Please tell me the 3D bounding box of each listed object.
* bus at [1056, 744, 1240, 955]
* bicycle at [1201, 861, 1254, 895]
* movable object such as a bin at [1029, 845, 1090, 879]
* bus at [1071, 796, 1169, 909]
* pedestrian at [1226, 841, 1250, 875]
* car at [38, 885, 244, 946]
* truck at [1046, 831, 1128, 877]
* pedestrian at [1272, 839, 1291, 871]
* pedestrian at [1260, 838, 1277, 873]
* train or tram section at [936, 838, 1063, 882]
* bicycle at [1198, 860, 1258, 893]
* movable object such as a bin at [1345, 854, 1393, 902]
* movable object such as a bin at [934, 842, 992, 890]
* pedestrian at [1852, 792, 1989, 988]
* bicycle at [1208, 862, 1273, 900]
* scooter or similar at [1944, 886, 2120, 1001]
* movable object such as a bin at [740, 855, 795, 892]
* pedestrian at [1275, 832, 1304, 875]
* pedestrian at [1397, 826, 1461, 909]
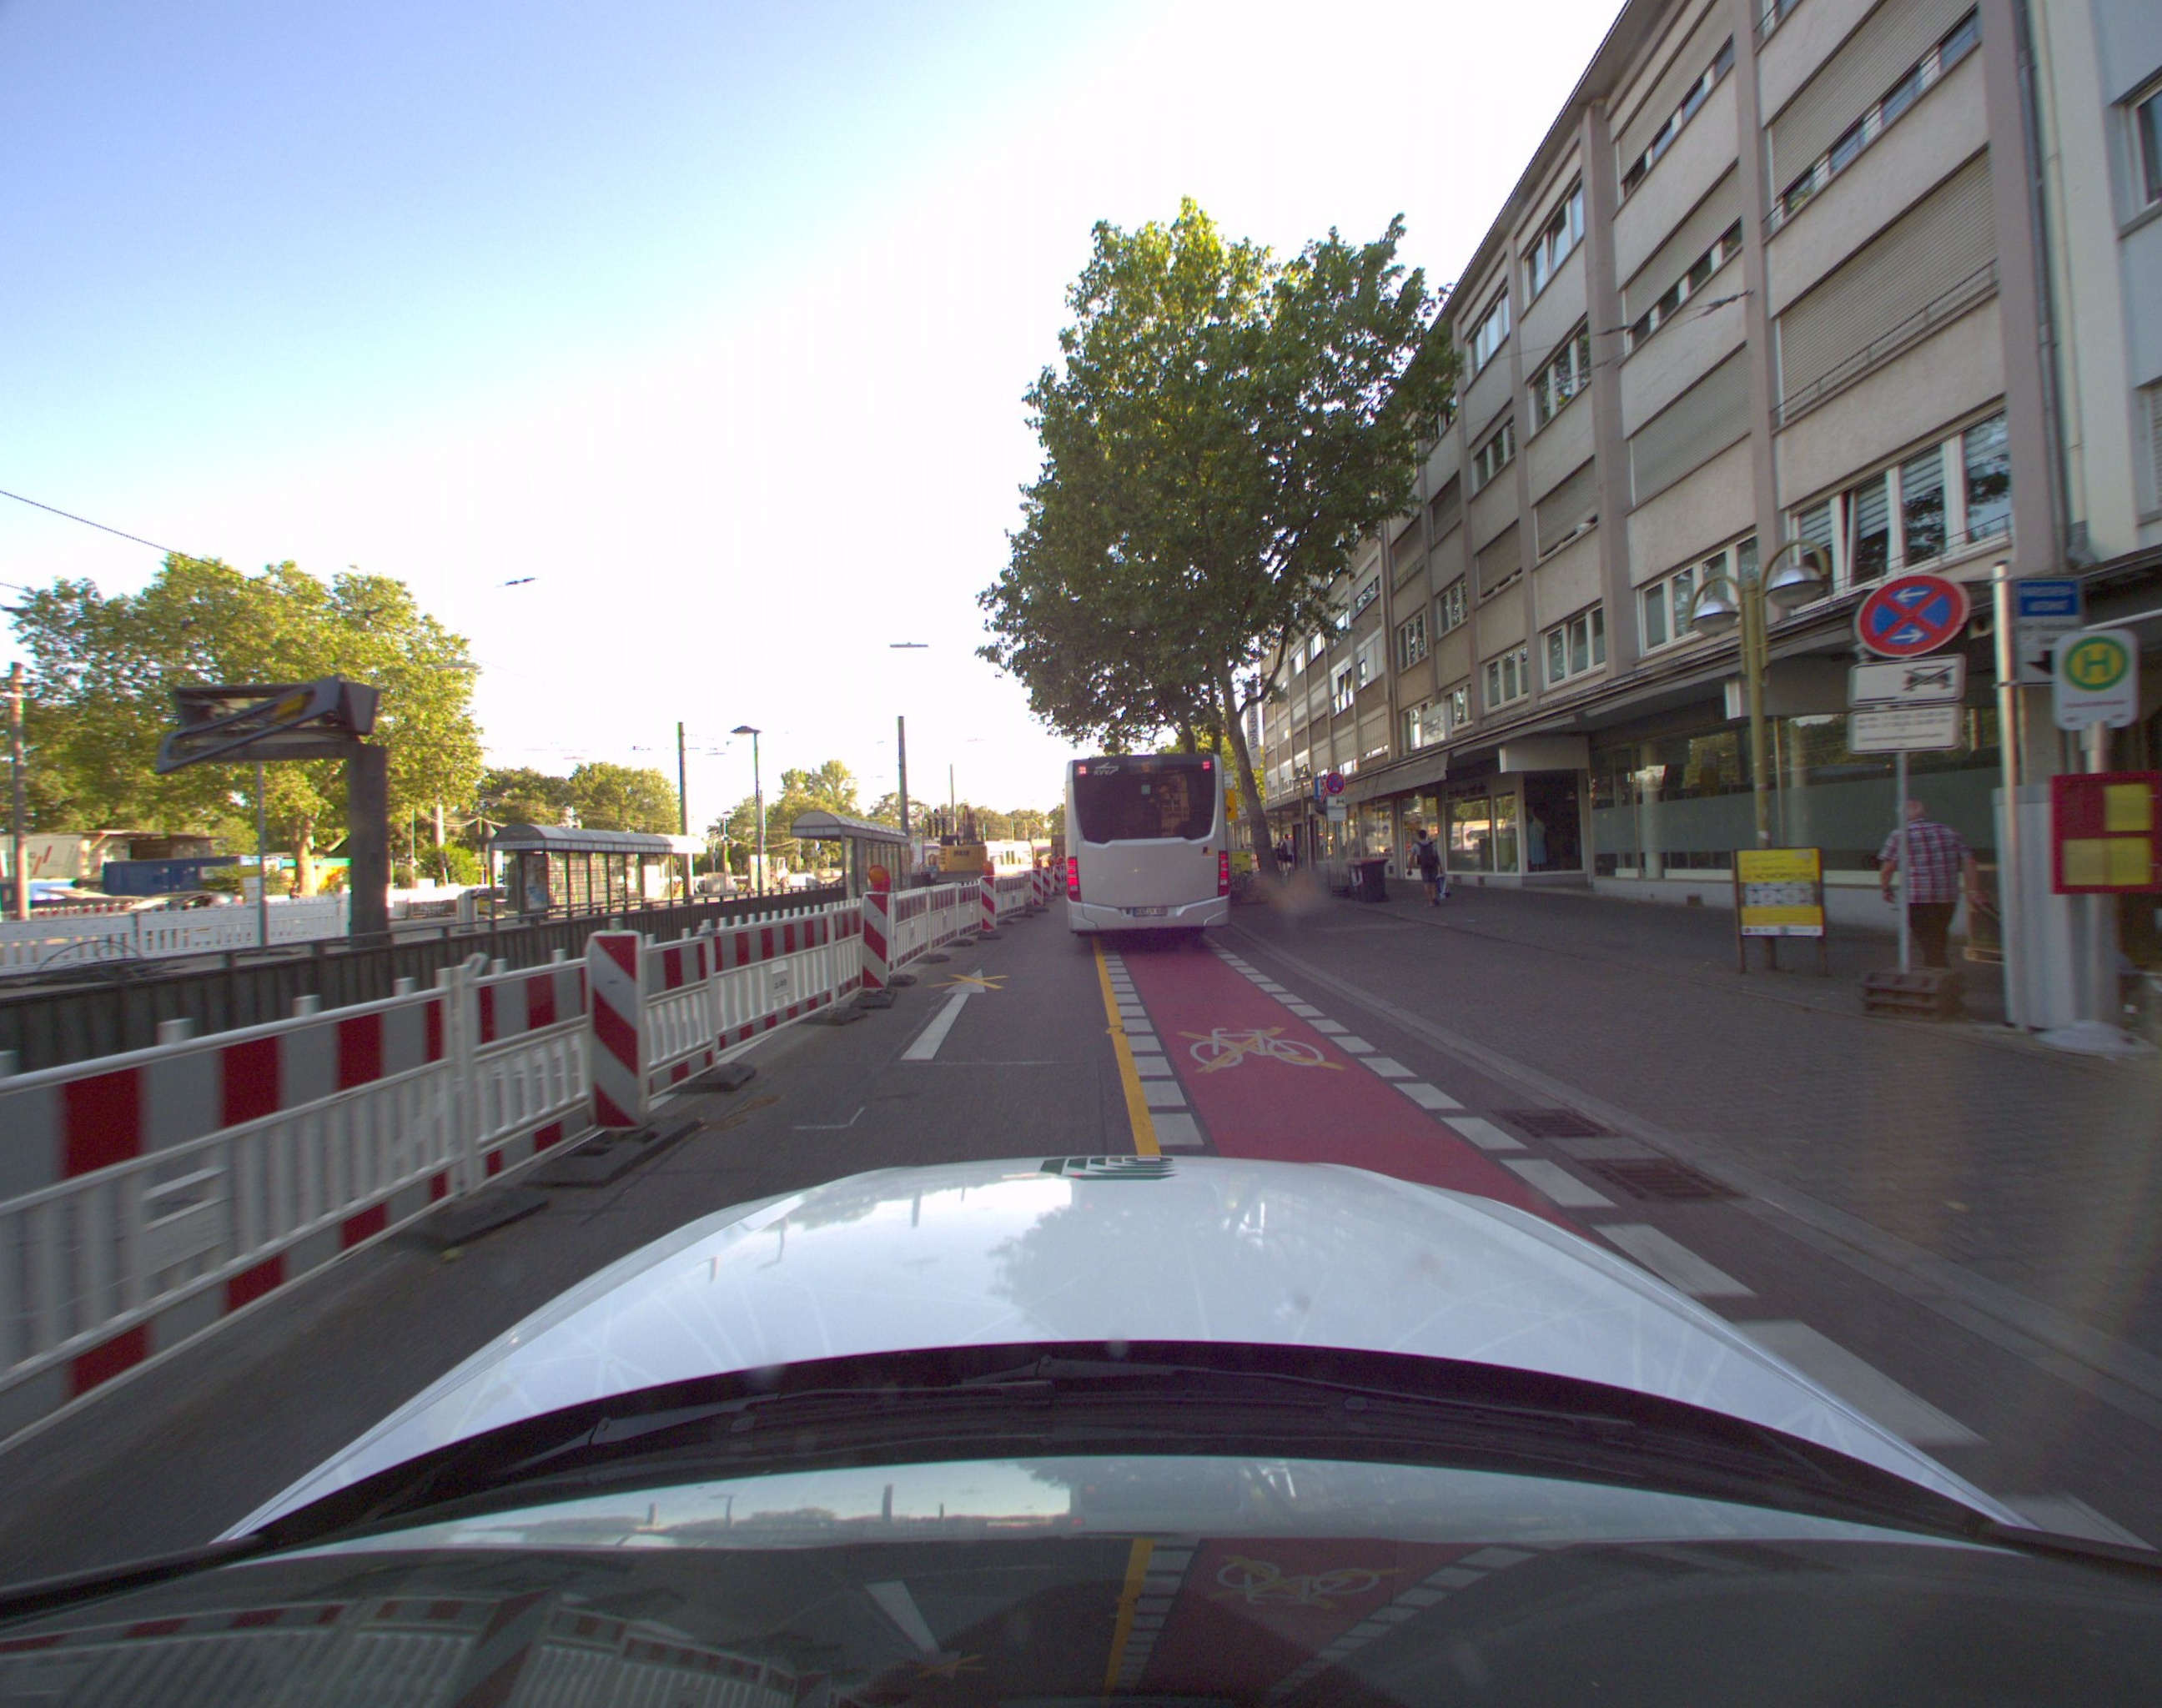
[{"bbox_3d":[1.050,-0.073,17.477,2.724,3.139,10.703,0,0,1],"label":"bus"},{"bbox_3d":[5.097,0.831,28.433,1.706,1.058,0.644,-4,0,2],"label":"bicycle"},{"bbox_3d":[-1.465,0.540,57.993,1.975,2.256,5.240,-1,0,28],"label":"movable object such as a bin"},{"bbox_3d":[1.146,-0.026,27.311,2.699,3.107,8.980,-1,0,1],"label":"bus"},{"bbox_3d":[8.362,0.214,43.416,0.896,1.710,1.071,-6,0,1],"label":"pedestrian"},{"bbox_3d":[-29.134,1.844,25.465,1.800,1.566,3.968,-2,0,-1],"label":"car"},{"bbox_3d":[0.656,-0.069,67.678,2.785,3.541,9.038,-2,0,28],"label":"truck"},{"bbox_3d":[10.286,0.027,41.815,0.630,1.573,0.774,-5,0,1],"label":"pedestrian"},{"bbox_3d":[9.618,0.067,41.836,0.581,1.708,0.679,-5,0,1],"label":"pedestrian"},{"bbox_3d":[-6.869,0.459,72.346,2.822,3.533,13.482,-3,-1,37],"label":"train or tram section"},{"bbox_3d":[5.372,0.827,29.831,1.982,1.058,0.770,-4,-1,-2],"label":"bicycle"},{"bbox_3d":[7.091,0.573,20.104,0.671,1.075,1.228,-5,0,2],"label":"movable object such as a bin"},{"bbox_3d":[-6.152,0.614,43.017,2.638,2.317,4.894,-2,0,-5],"label":"movable object such as a bin"},{"bbox_3d":[7.519,0.318,7.324,0.640,1.673,0.559,-2,-1,23],"label":"pedestrian"},{"bbox_3d":[4.863,0.807,24.854,1.784,1.022,0.643,-4,0,-2],"label":"bicycle"},{"bbox_3d":[7.654,0.704,6.591,0.572,0.844,0.736,-2,0,11],"label":"scooter or similar"},{"bbox_3d":[-24.284,1.462,63.249,2.142,2.639,4.603,-3,0,3],"label":"movable object such as a bin"},{"bbox_3d":[9.652,-0.010,37.740,0.835,1.869,1.100,-7,0,1],"label":"pedestrian"},{"bbox_3d":[7.400,0.276,17.375,0.840,1.673,0.990,-4,0,1],"label":"pedestrian"}]
